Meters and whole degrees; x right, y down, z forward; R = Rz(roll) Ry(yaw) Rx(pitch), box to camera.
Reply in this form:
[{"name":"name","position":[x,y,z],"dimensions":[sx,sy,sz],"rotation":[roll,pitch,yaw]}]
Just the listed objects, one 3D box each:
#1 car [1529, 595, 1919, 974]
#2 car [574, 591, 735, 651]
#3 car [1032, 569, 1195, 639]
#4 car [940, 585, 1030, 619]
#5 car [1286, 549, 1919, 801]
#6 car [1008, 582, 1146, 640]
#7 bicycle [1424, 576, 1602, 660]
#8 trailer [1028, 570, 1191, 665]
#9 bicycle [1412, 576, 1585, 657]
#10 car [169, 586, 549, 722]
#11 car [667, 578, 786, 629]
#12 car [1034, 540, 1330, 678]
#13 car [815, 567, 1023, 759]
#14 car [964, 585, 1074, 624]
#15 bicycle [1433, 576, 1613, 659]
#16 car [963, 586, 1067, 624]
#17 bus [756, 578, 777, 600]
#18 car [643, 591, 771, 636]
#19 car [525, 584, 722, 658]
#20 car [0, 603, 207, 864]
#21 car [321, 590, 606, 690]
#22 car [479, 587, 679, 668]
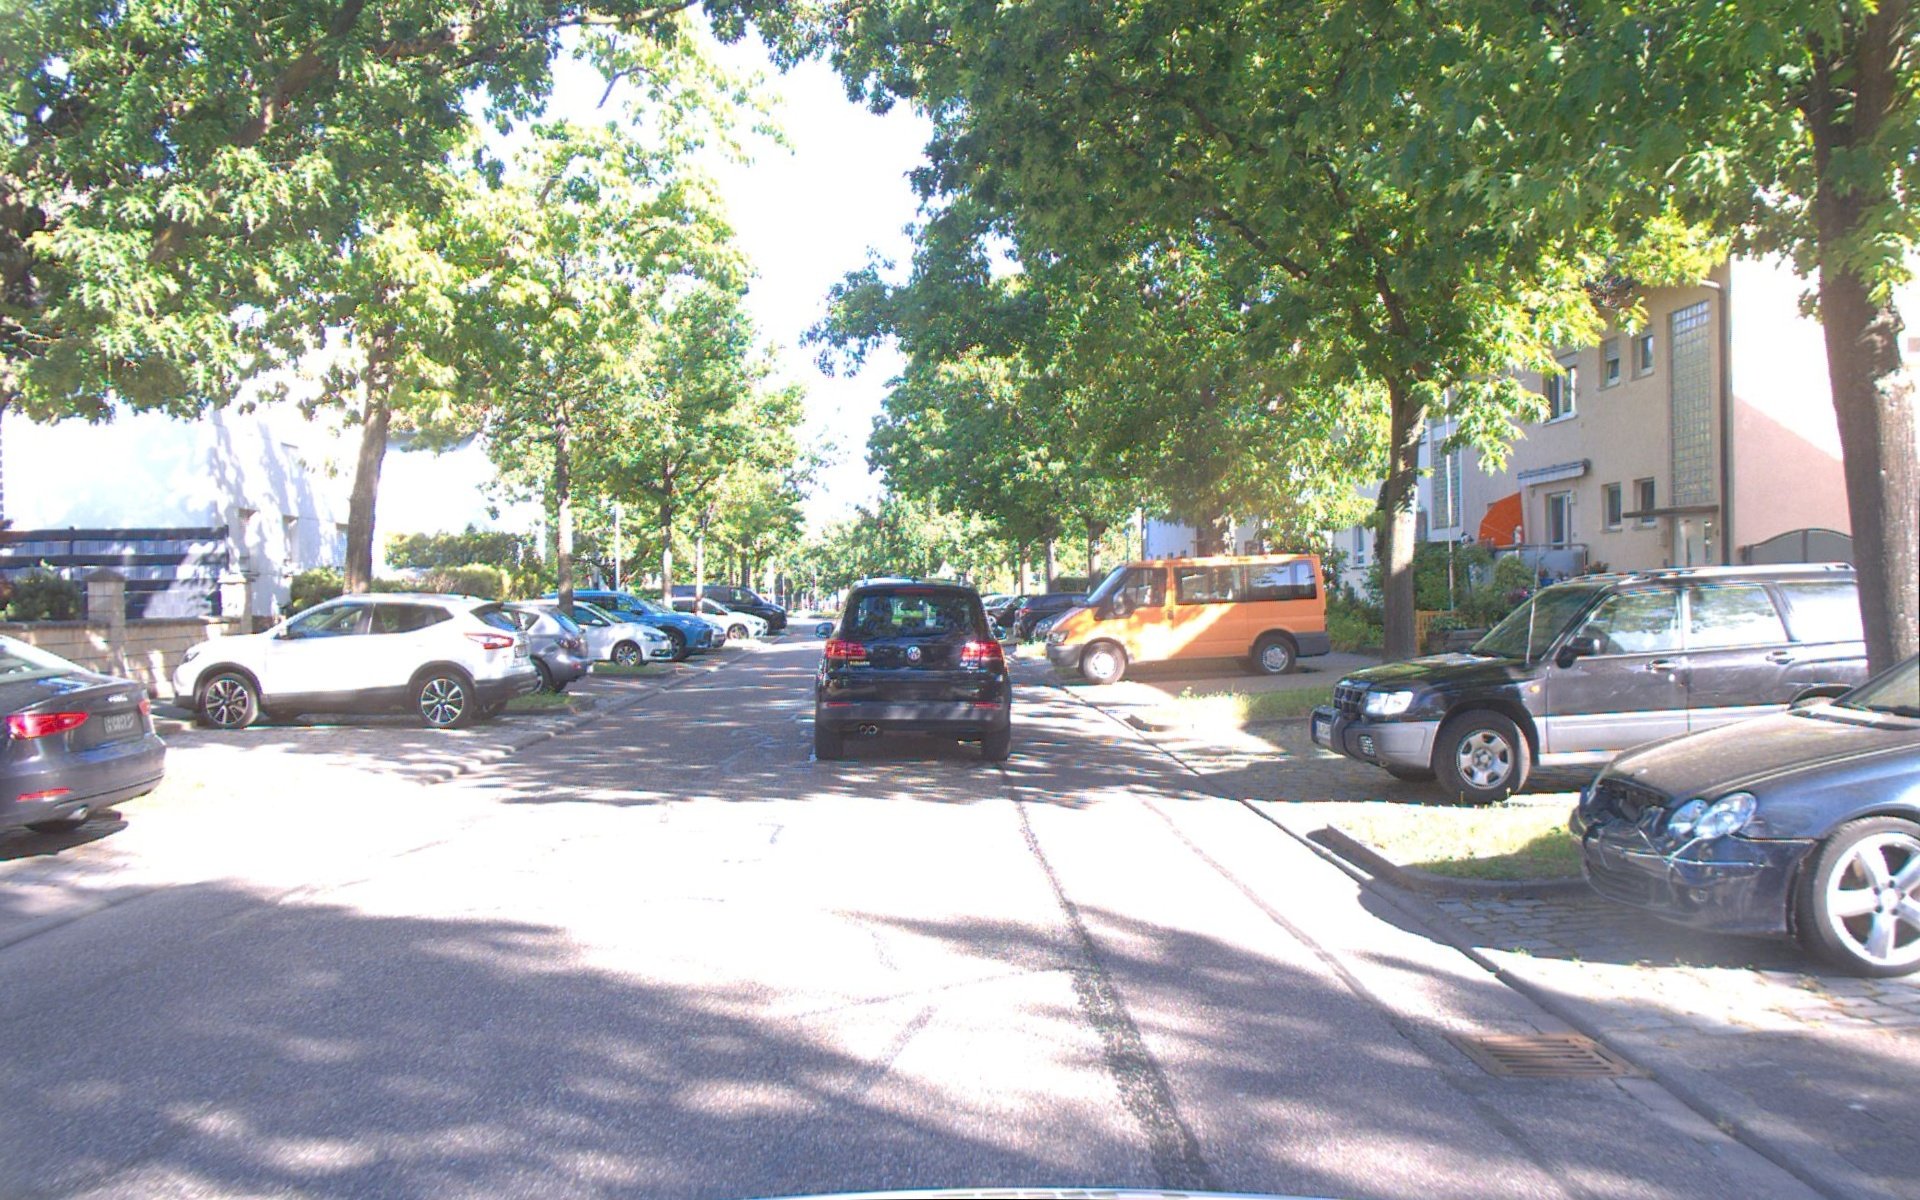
[{"name":"car","position":[4.951,0.644,7.188],"dimensions":[4.337,1.354,1.691],"rotation":[-3,0,1]},{"name":"car","position":[-8.322,0.578,45.248],"dimensions":[4.098,1.518,1.646],"rotation":[-1,-1,-2]},{"name":"car","position":[3.890,0.105,42.273],"dimensions":[3.908,1.652,1.756],"rotation":[-1,-1,-4]},{"name":"car","position":[1.237,0.088,82.749],"dimensions":[4.340,1.517,1.796],"rotation":[-2,0,-3]},{"name":"car","position":[4.807,0.509,12.487],"dimensions":[4.251,1.587,1.867],"rotation":[-2,0,-3]},{"name":"car","position":[3.340,0.314,47.757],"dimensions":[3.804,1.542,1.660],"rotation":[-1,0,-2]},{"name":"bicycle","position":[9.340,0.297,27.959],"dimensions":[2.801,1.259,0.468],"rotation":[-3,-1,-2]},{"name":"trailer","position":[2.973,0.348,33.231],"dimensions":[2.891,1.693,1.612],"rotation":[-3,-1,-8]},{"name":"bicycle","position":[9.256,0.274,28.454],"dimensions":[2.801,1.258,0.468],"rotation":[-2,0,-2]},{"name":"car","position":[-7.442,0.643,20.774],"dimensions":[4.102,1.594,1.792],"rotation":[1,0,-1]},{"name":"car","position":[-9.495,0.133,67.557],"dimensions":[4.685,1.950,2.017],"rotation":[-1,0,-5]},{"name":"car","position":[3.744,0.139,28.516],"dimensions":[4.722,2.119,2.085],"rotation":[-2,0,-2]},{"name":"car","position":[-0.359,0.546,16.390],"dimensions":[1.800,1.665,3.957],"rotation":[0,0,0]},{"name":"car","position":[2.341,0.179,66.330],"dimensions":[4.260,1.386,1.872],"rotation":[-2,0,-3]},{"name":"bicycle","position":[9.345,0.290,27.472],"dimensions":[2.801,1.259,0.468],"rotation":[-2,-1,-2]},{"name":"car","position":[2.274,0.206,69.082],"dimensions":[4.191,1.439,1.796],"rotation":[-2,0,-3]},{"name":"bus","position":[-27.858,-1.583,238.001],"dimensions":[2.873,3.056,5.728],"rotation":[-1,-1,-7]},{"name":"car","position":[-8.690,0.440,57.002],"dimensions":[4.190,1.504,1.768],"rotation":[0,0,-3]},{"name":"car","position":[-8.185,0.507,40.498],"dimensions":[4.433,1.660,1.936],"rotation":[-1,-1,-2]},{"name":"car","position":[-7.208,0.814,10.401],"dimensions":[4.125,1.497,1.690],"rotation":[-1,0,-2]},{"name":"car","position":[-7.757,0.607,26.132],"dimensions":[3.954,1.448,1.809],"rotation":[1,0,-4]},{"name":"car","position":[-8.235,0.599,35.992],"dimensions":[3.907,1.623,1.856],"rotation":[-1,-1,-2]}]
